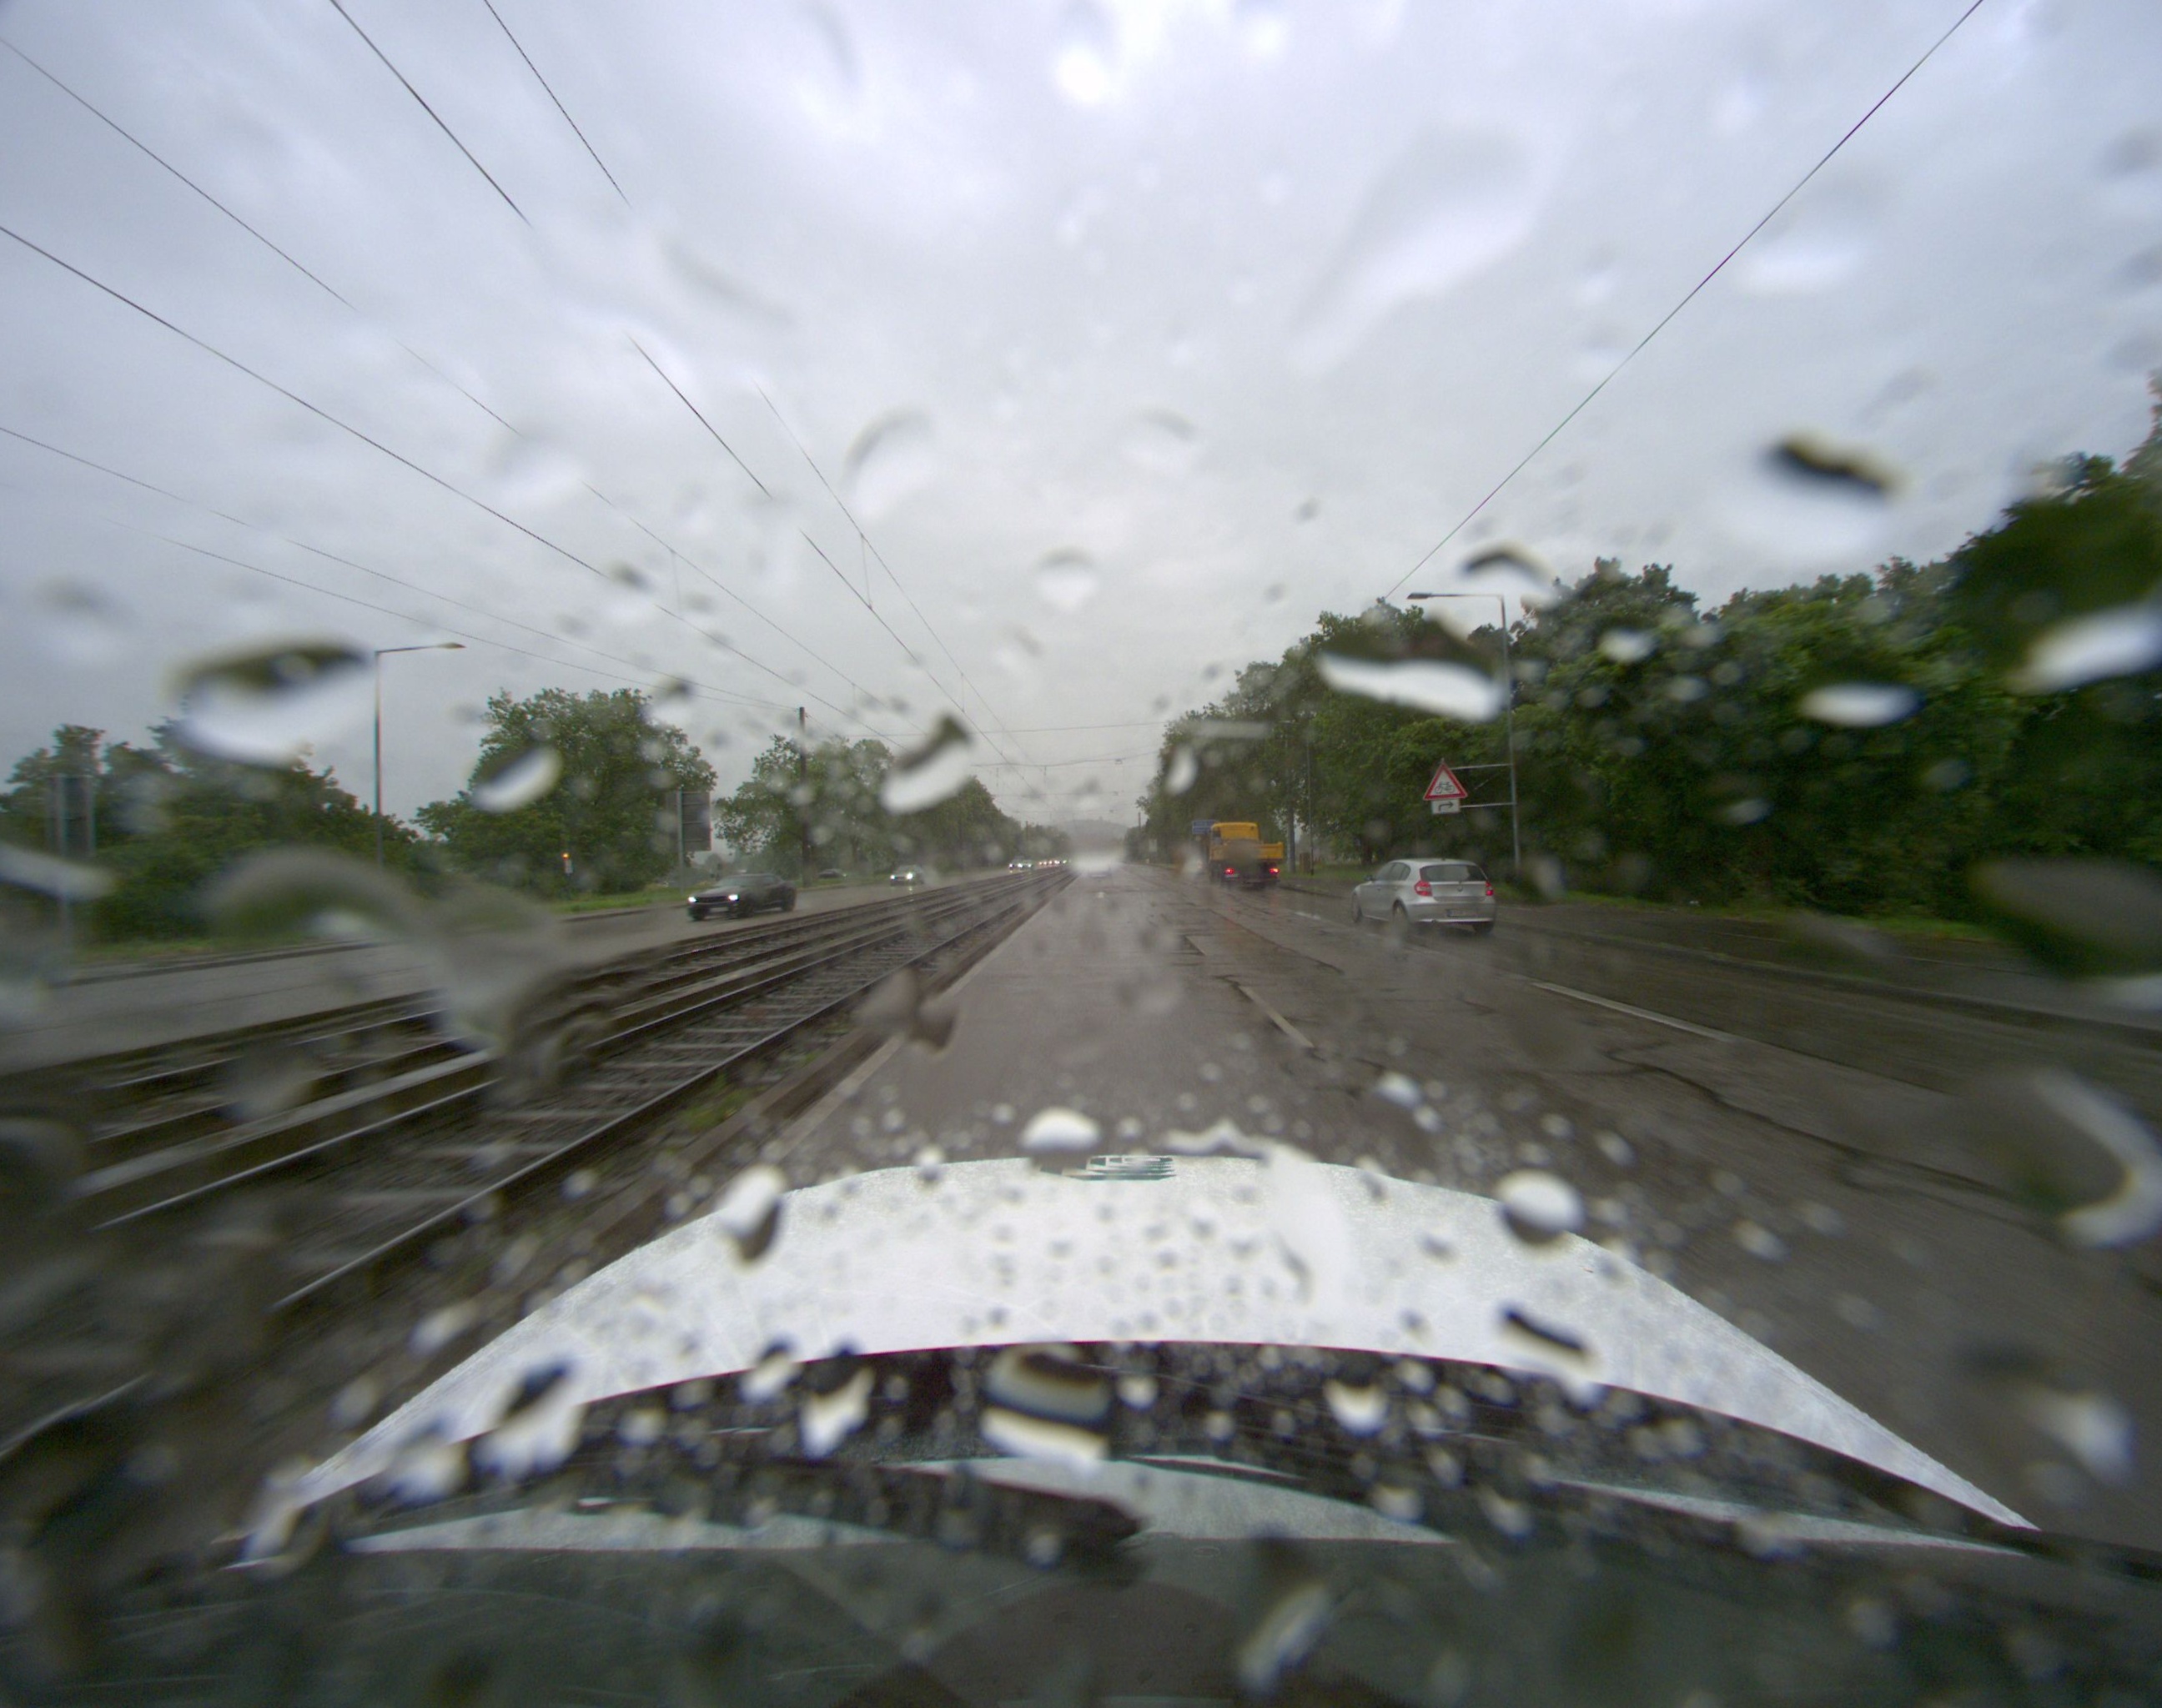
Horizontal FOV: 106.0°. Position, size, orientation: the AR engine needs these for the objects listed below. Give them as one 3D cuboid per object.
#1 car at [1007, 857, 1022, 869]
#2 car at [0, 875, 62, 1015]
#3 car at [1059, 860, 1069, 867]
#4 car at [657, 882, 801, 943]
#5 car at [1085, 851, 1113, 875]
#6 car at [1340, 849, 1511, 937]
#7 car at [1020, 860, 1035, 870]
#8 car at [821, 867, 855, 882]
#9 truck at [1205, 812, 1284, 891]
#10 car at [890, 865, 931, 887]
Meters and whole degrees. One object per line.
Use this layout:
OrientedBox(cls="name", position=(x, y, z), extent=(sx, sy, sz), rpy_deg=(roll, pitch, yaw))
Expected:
OrientedBox(cls="car", position=(-10.215, 1.332, 125.390), extent=(1.881, 1.809, 5.004), rpy_deg=(0, 1, 0))
OrientedBox(cls="car", position=(-13.283, 1.077, 7.301), extent=(1.836, 1.574, 5.067), rpy_deg=(0, 1, 1))
OrientedBox(cls="car", position=(-4.323, 2.486, 208.664), extent=(1.782, 1.549, 5.321), rpy_deg=(0, 1, 5))
OrientedBox(cls="car", position=(-11.212, 1.803, 26.476), extent=(1.984, 1.464, 5.257), rpy_deg=(-3, 0, 4))
OrientedBox(cls="car", position=(1.388, 0.627, 60.728), extent=(1.981, 1.684, 3.742), rpy_deg=(0, 1, 3))
OrientedBox(cls="car", position=(6.769, 0.674, 16.588), extent=(1.621, 1.503, 4.607), rpy_deg=(0, 1, 1))
OrientedBox(cls="car", position=(-7.688, 1.540, 117.799), extent=(1.735, 1.354, 4.548), rpy_deg=(0, 1, 2))
OrientedBox(cls="car", position=(-29.122, 2.420, 97.517), extent=(4.591, 1.686, 1.858), rpy_deg=(0, 1, 42))
OrientedBox(cls="truck", position=(7.317, -0.156, 37.217), extent=(2.545, 3.257, 6.938), rpy_deg=(0, 1, 3))
OrientedBox(cls="car", position=(-12.019, 1.505, 57.775), extent=(1.751, 1.362, 5.073), rpy_deg=(0, 1, 1))
